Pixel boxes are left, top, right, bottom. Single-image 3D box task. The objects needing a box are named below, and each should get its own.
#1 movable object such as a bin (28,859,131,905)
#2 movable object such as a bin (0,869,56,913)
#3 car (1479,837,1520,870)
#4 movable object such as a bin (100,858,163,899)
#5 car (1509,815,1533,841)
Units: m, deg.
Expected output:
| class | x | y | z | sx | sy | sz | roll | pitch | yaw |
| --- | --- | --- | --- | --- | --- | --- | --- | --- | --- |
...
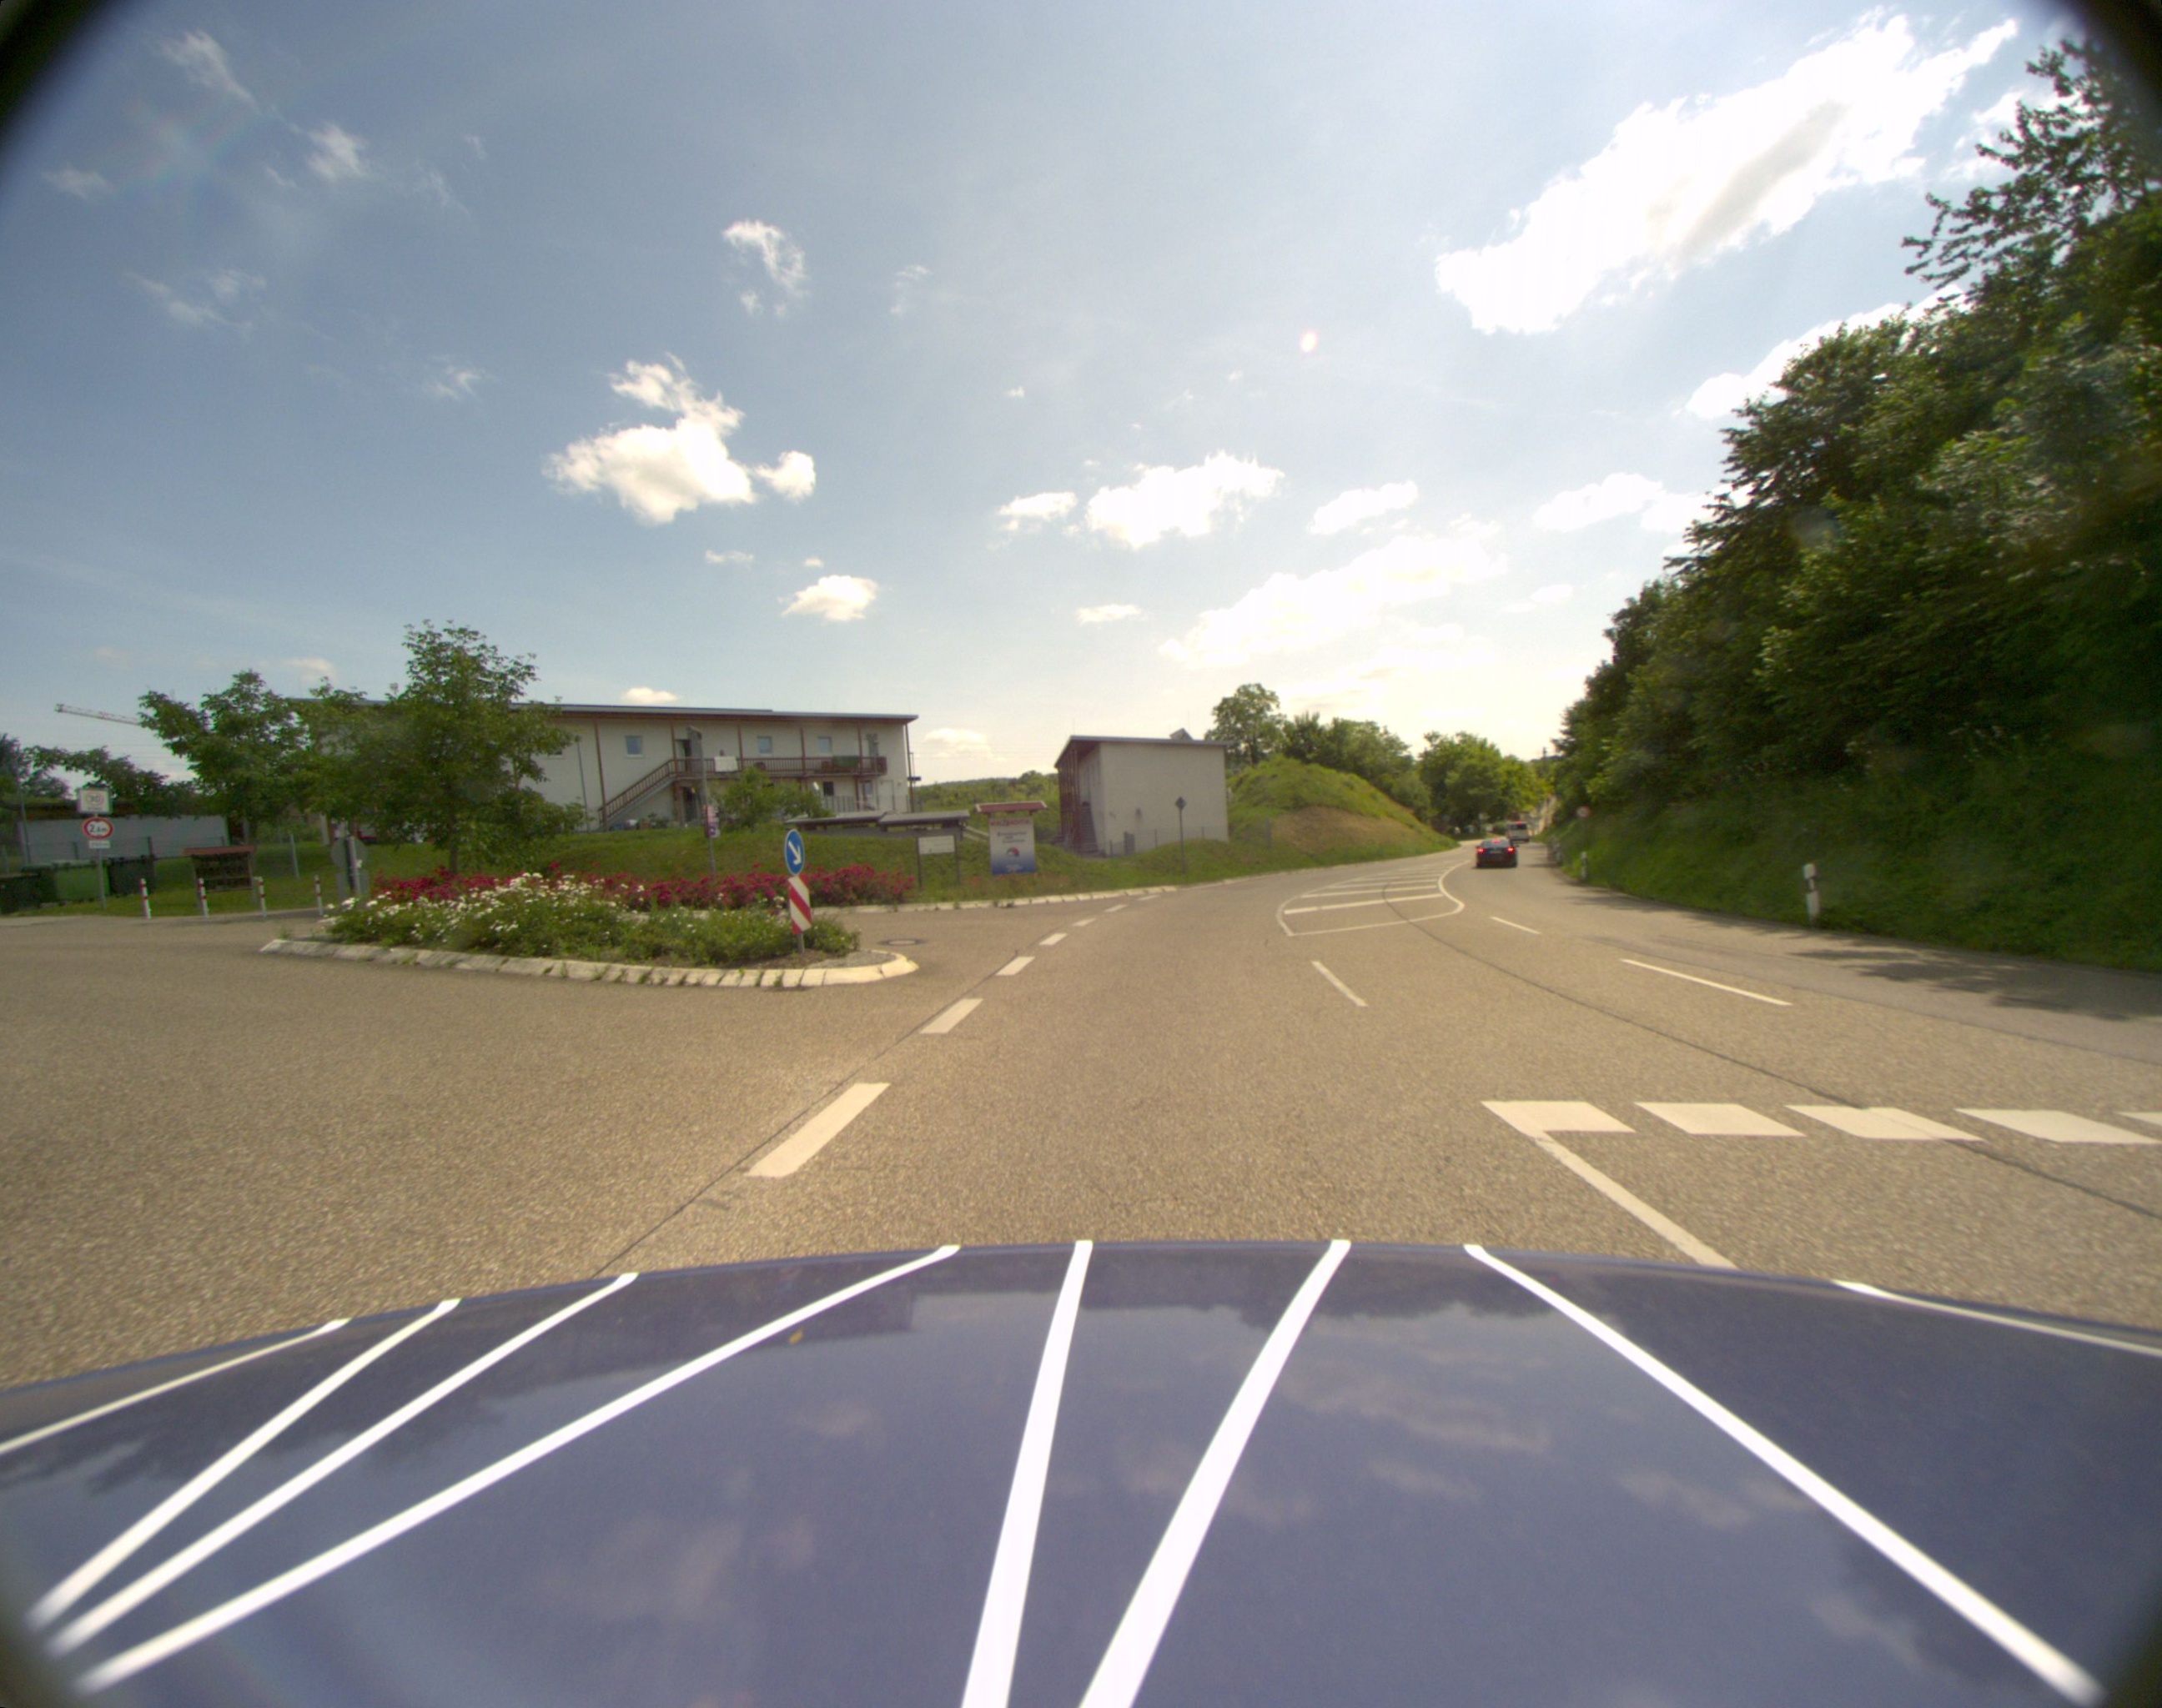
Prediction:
| class | x | y | z | sx | sy | sz | roll | pitch | yaw |
| --- | --- | --- | --- | --- | --- | --- | --- | --- | --- |
| movable object such as a bin | -28.274 | 0.770 | 21.487 | 0.967 | 1.097 | 1.366 | -6 | 2 | 8 |
| movable object such as a bin | -28.419 | 1.000 | 20.470 | 0.625 | 1.074 | 0.627 | -6 | 2 | 8 |
| car | 21.076 | -0.059 | 38.167 | 1.685 | 1.412 | 4.351 | 0 | 2 | 30 |
| movable object such as a bin | -28.298 | 0.717 | 22.651 | 0.760 | 1.112 | 0.793 | -6 | 2 | 8 |
| car | 47.927 | -2.857 | 82.829 | 2.087 | 2.279 | 5.951 | -1 | 6 | 29 |
